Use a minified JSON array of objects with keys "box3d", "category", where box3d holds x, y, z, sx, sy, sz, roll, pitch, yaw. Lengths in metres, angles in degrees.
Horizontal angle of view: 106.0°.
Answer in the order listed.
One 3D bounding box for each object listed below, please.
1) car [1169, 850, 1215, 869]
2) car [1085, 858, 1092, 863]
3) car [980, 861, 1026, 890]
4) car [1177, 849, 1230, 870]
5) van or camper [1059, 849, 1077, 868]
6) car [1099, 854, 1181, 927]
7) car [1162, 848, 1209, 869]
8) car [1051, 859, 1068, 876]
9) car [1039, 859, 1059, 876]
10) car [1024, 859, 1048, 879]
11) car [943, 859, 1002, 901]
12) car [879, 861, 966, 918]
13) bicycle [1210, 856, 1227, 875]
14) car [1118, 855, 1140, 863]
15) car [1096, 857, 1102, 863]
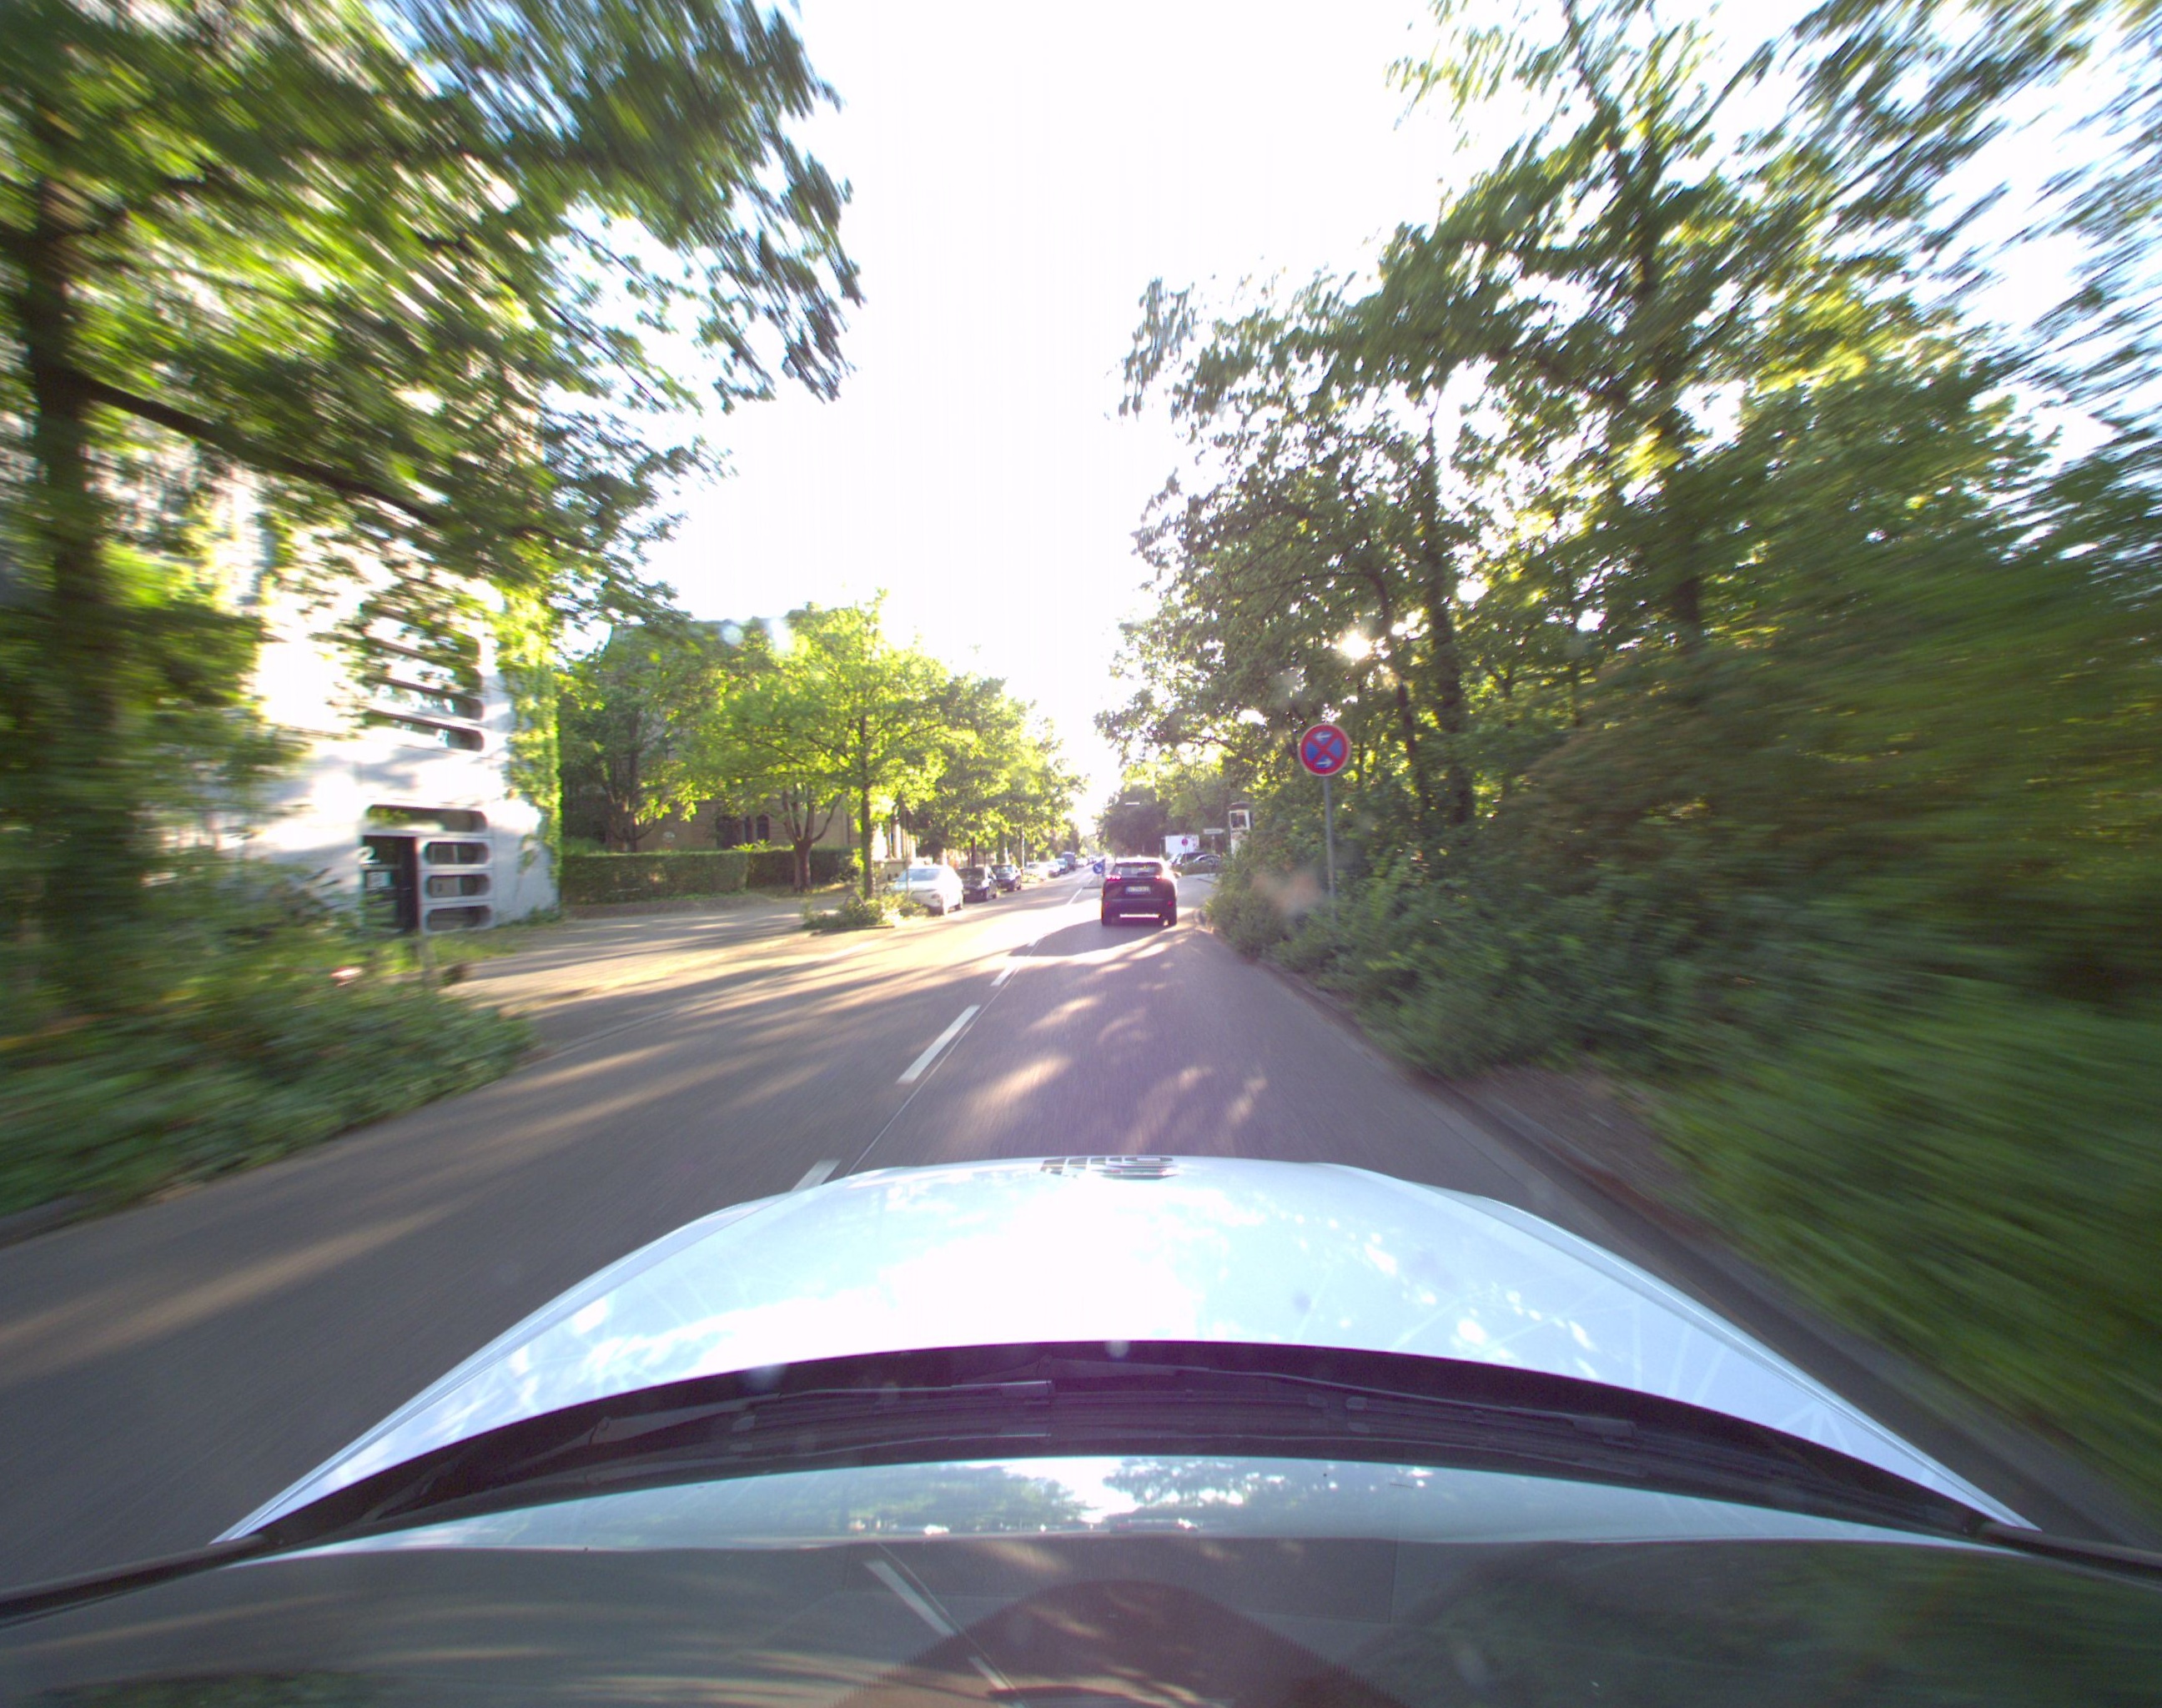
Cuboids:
[{"box3d":[11.219,0.572,82.765,4.348,1.537,1.921,-4,0,0],"category":"car"},{"box3d":[2.302,1.872,239.918,1.893,1.574,4.001,-2,0,1],"category":"car"},{"box3d":[-4.265,1.156,45.306,1.795,1.510,4.866,-2,0,3],"category":"car"},{"box3d":[10.807,0.471,71.940,4.348,1.554,1.727,-4,0,0],"category":"car"},{"box3d":[-1.826,0.628,116.022,2.221,2.544,7.081,-1,0,1],"category":"van or camper"},{"box3d":[1.366,0.800,20.020,1.765,1.568,4.110,-1,0,2],"category":"car"},{"box3d":[11.534,0.449,89.876,4.836,1.915,1.916,-4,0,0],"category":"car"},{"box3d":[-2.556,1.588,96.374,1.770,1.866,4.334,0,0,2],"category":"car"},{"box3d":[-3.059,1.311,78.712,1.612,1.496,4.378,-2,0,1],"category":"car"},{"box3d":[-3.630,1.221,65.992,1.612,1.496,3.926,-2,0,1],"category":"car"},{"box3d":[-4.537,1.045,34.592,1.773,1.616,4.148,-2,0,1],"category":"car"},{"box3d":[-4.979,1.064,26.128,1.796,1.616,4.148,-3,0,1],"category":"car"},{"box3d":[9.045,0.751,53.541,0.488,1.148,2.297,-6,0,22],"category":"bicycle"},{"box3d":[9.773,1.048,166.470,4.230,1.449,2.021,-4,-1,-1],"category":"car"},{"box3d":[5.189,1.793,236.805,1.735,1.458,4.625,-3,-1,1],"category":"car"}]
